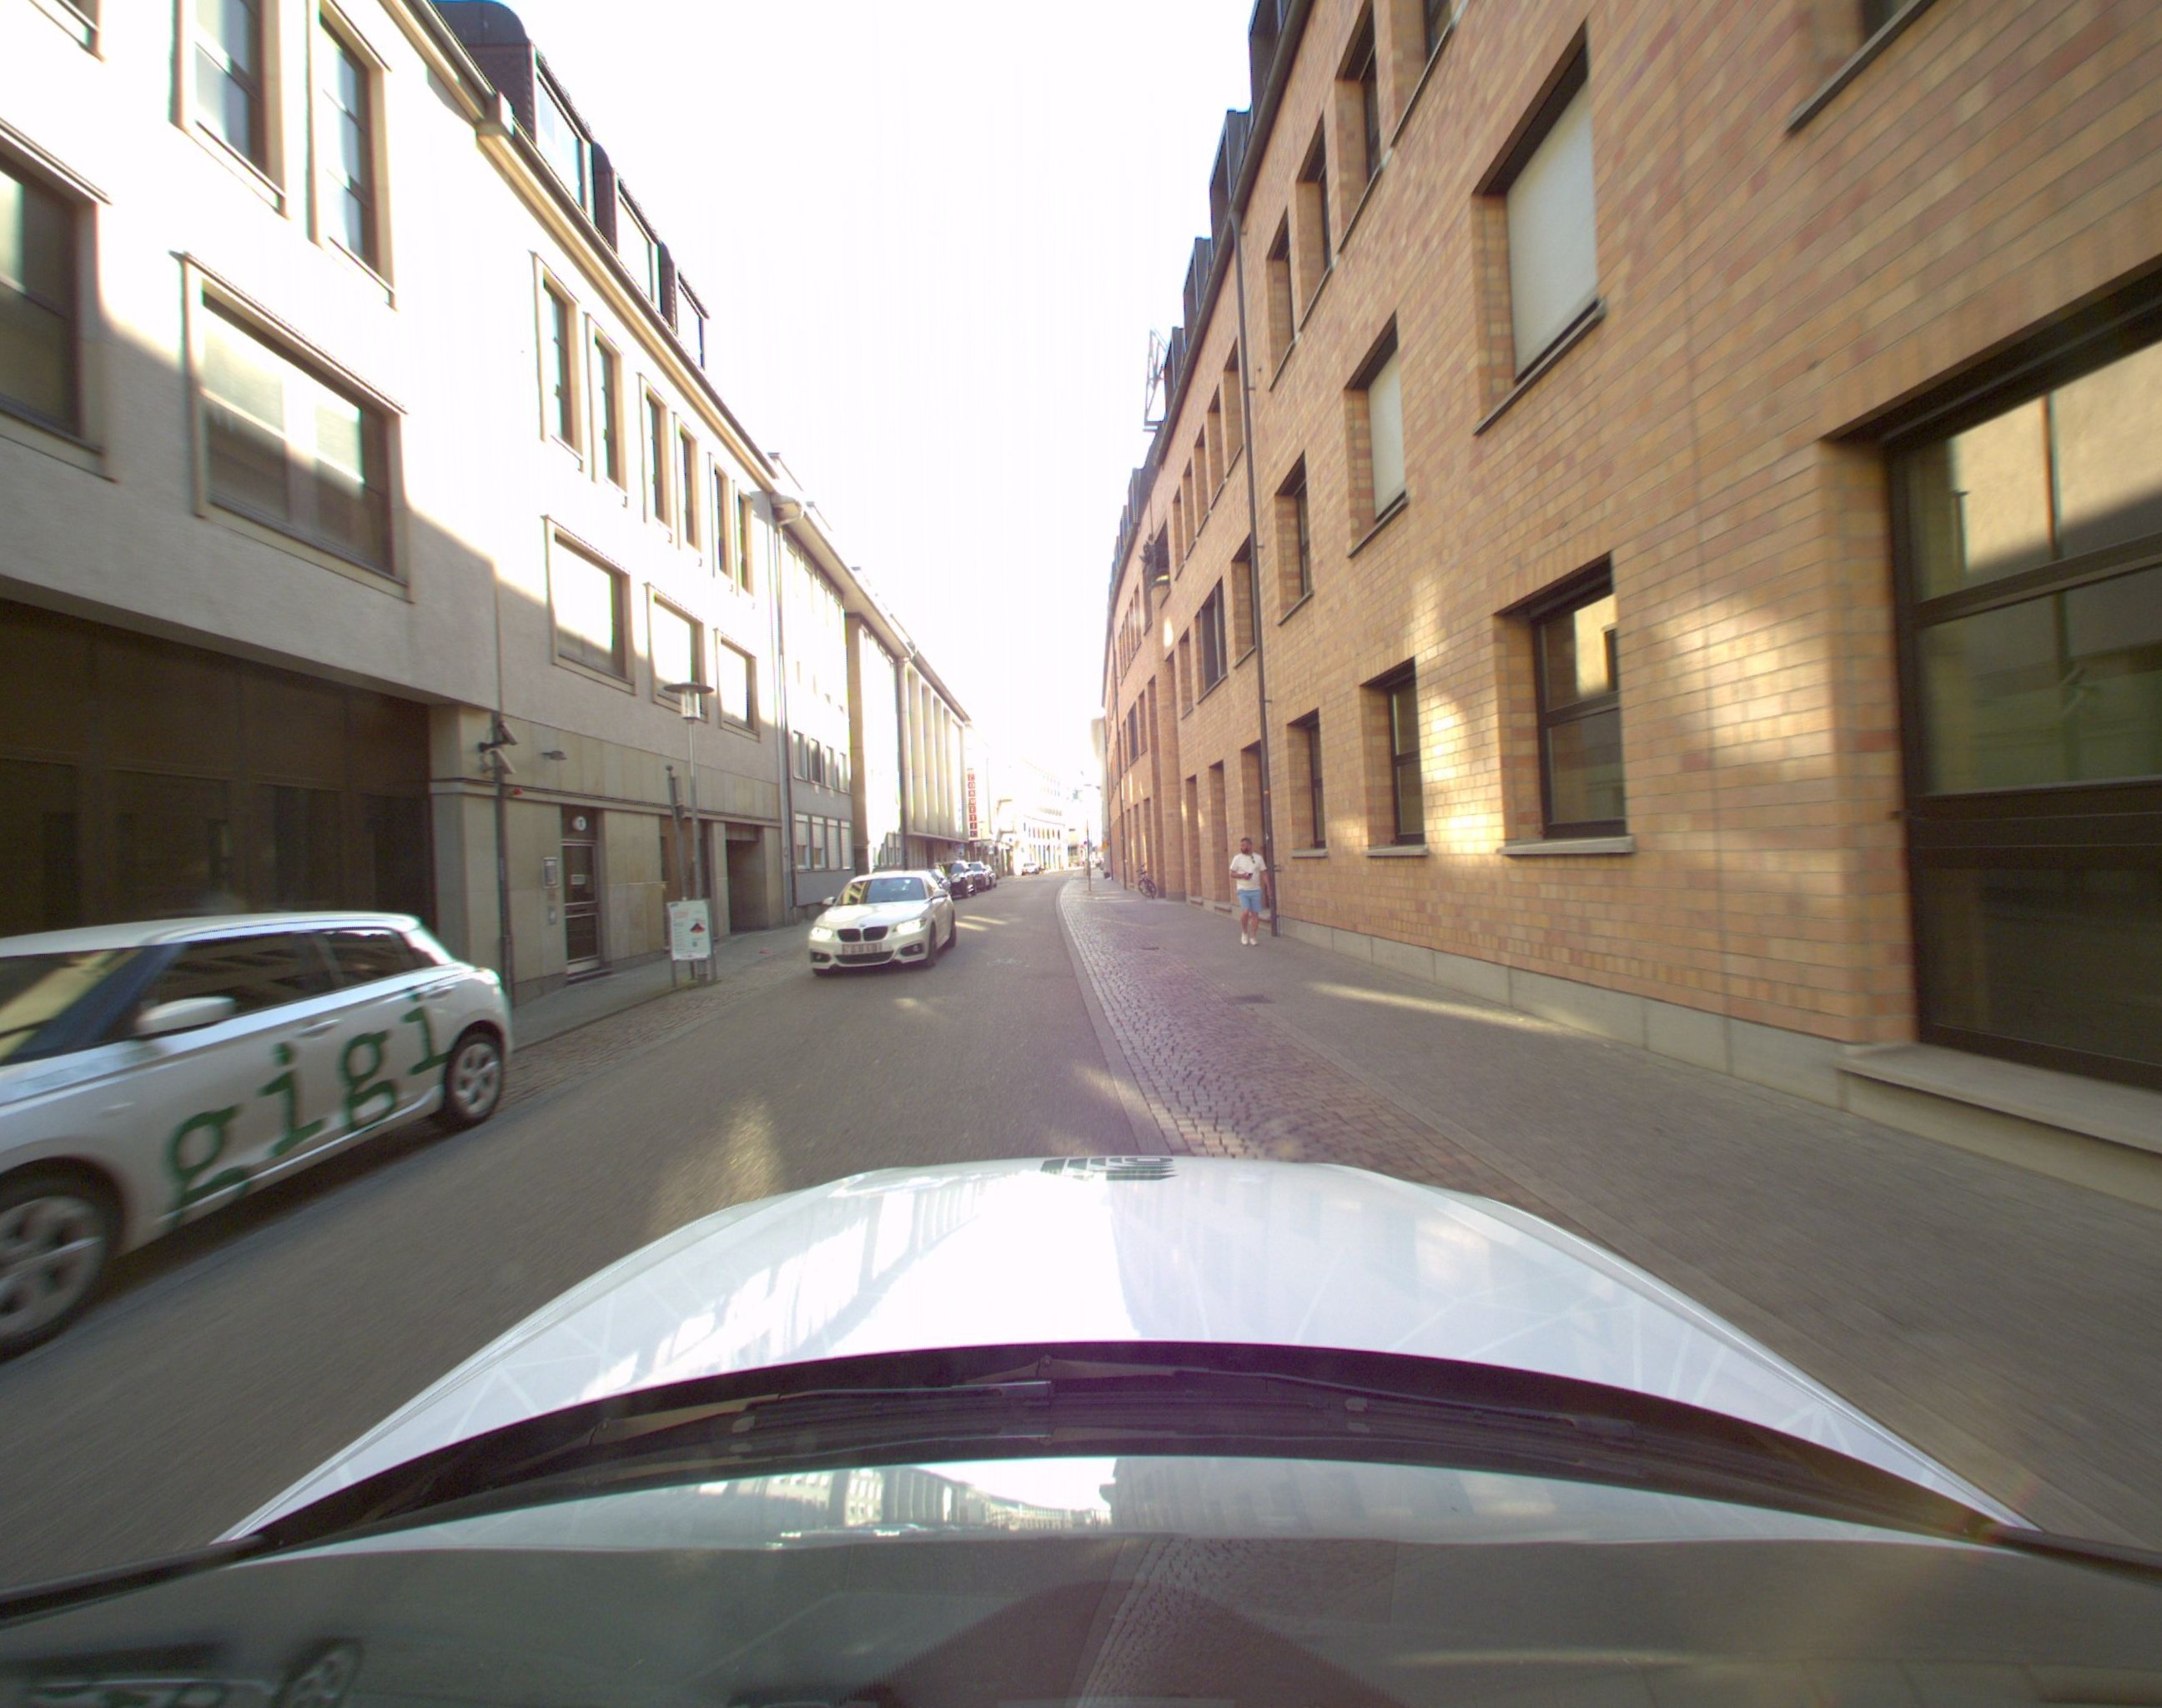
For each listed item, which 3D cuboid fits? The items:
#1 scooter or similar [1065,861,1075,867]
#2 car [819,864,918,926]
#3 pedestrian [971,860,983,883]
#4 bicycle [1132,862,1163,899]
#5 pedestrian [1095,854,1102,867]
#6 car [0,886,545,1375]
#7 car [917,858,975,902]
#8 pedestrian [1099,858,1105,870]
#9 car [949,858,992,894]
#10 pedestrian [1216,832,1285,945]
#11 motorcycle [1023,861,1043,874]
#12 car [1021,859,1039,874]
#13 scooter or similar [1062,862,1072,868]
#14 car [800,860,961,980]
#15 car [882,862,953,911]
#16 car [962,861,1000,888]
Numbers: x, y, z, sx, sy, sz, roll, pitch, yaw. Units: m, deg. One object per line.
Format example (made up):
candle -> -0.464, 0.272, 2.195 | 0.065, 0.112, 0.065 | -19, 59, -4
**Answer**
scooter or similar -> -1.810, 1.655, 136.153 | 0.520, 0.928, 2.241 | -2, 0, 30
car -> -6.225, 1.139, 24.434 | 1.886, 1.530, 4.722 | -3, 0, -3
pedestrian -> -7.699, 1.294, 60.159 | 0.650, 1.625, 0.452 | -2, -1, -42
bicycle -> 2.172, 0.839, 26.818 | 0.549, 1.103, 1.978 | -6, 0, -6
pedestrian -> 2.585, 0.914, 118.520 | 0.663, 1.869, 0.753 | 0, -2, -30
car -> -4.615, 1.056, 3.968 | 1.668, 1.522, 3.768 | -5, 0, -6
car -> -5.793, 1.056, 35.456 | 1.886, 1.675, 4.548 | -3, 0, -3
pedestrian -> 3.163, 1.518, 123.546 | 0.663, 1.869, 0.778 | 0, -2, -30
car -> -5.988, 1.162, 44.383 | 1.886, 1.742, 4.385 | -3, 0, -3
pedestrian -> 2.732, 0.544, 13.200 | 0.759, 1.716, 0.820 | -5, 0, -4
motorcycle -> -5.992, 1.674, 101.127 | 2.383, 1.317, 0.862 | -4, 0, -1
car -> -5.613, 1.343, 89.996 | 1.730, 1.606, 3.533 | -2, 0, 1
scooter or similar -> -2.213, 1.727, 132.412 | 0.520, 0.928, 2.241 | -2, 0, 30
car -> -3.029, 0.907, 13.176 | 1.711, 1.517, 4.155 | -3, 0, -3
car -> -5.973, 1.143, 30.175 | 1.886, 1.530, 4.334 | -3, 0, -3
car -> -6.055, 1.221, 49.632 | 1.643, 1.460, 3.998 | -5, 0, 0
